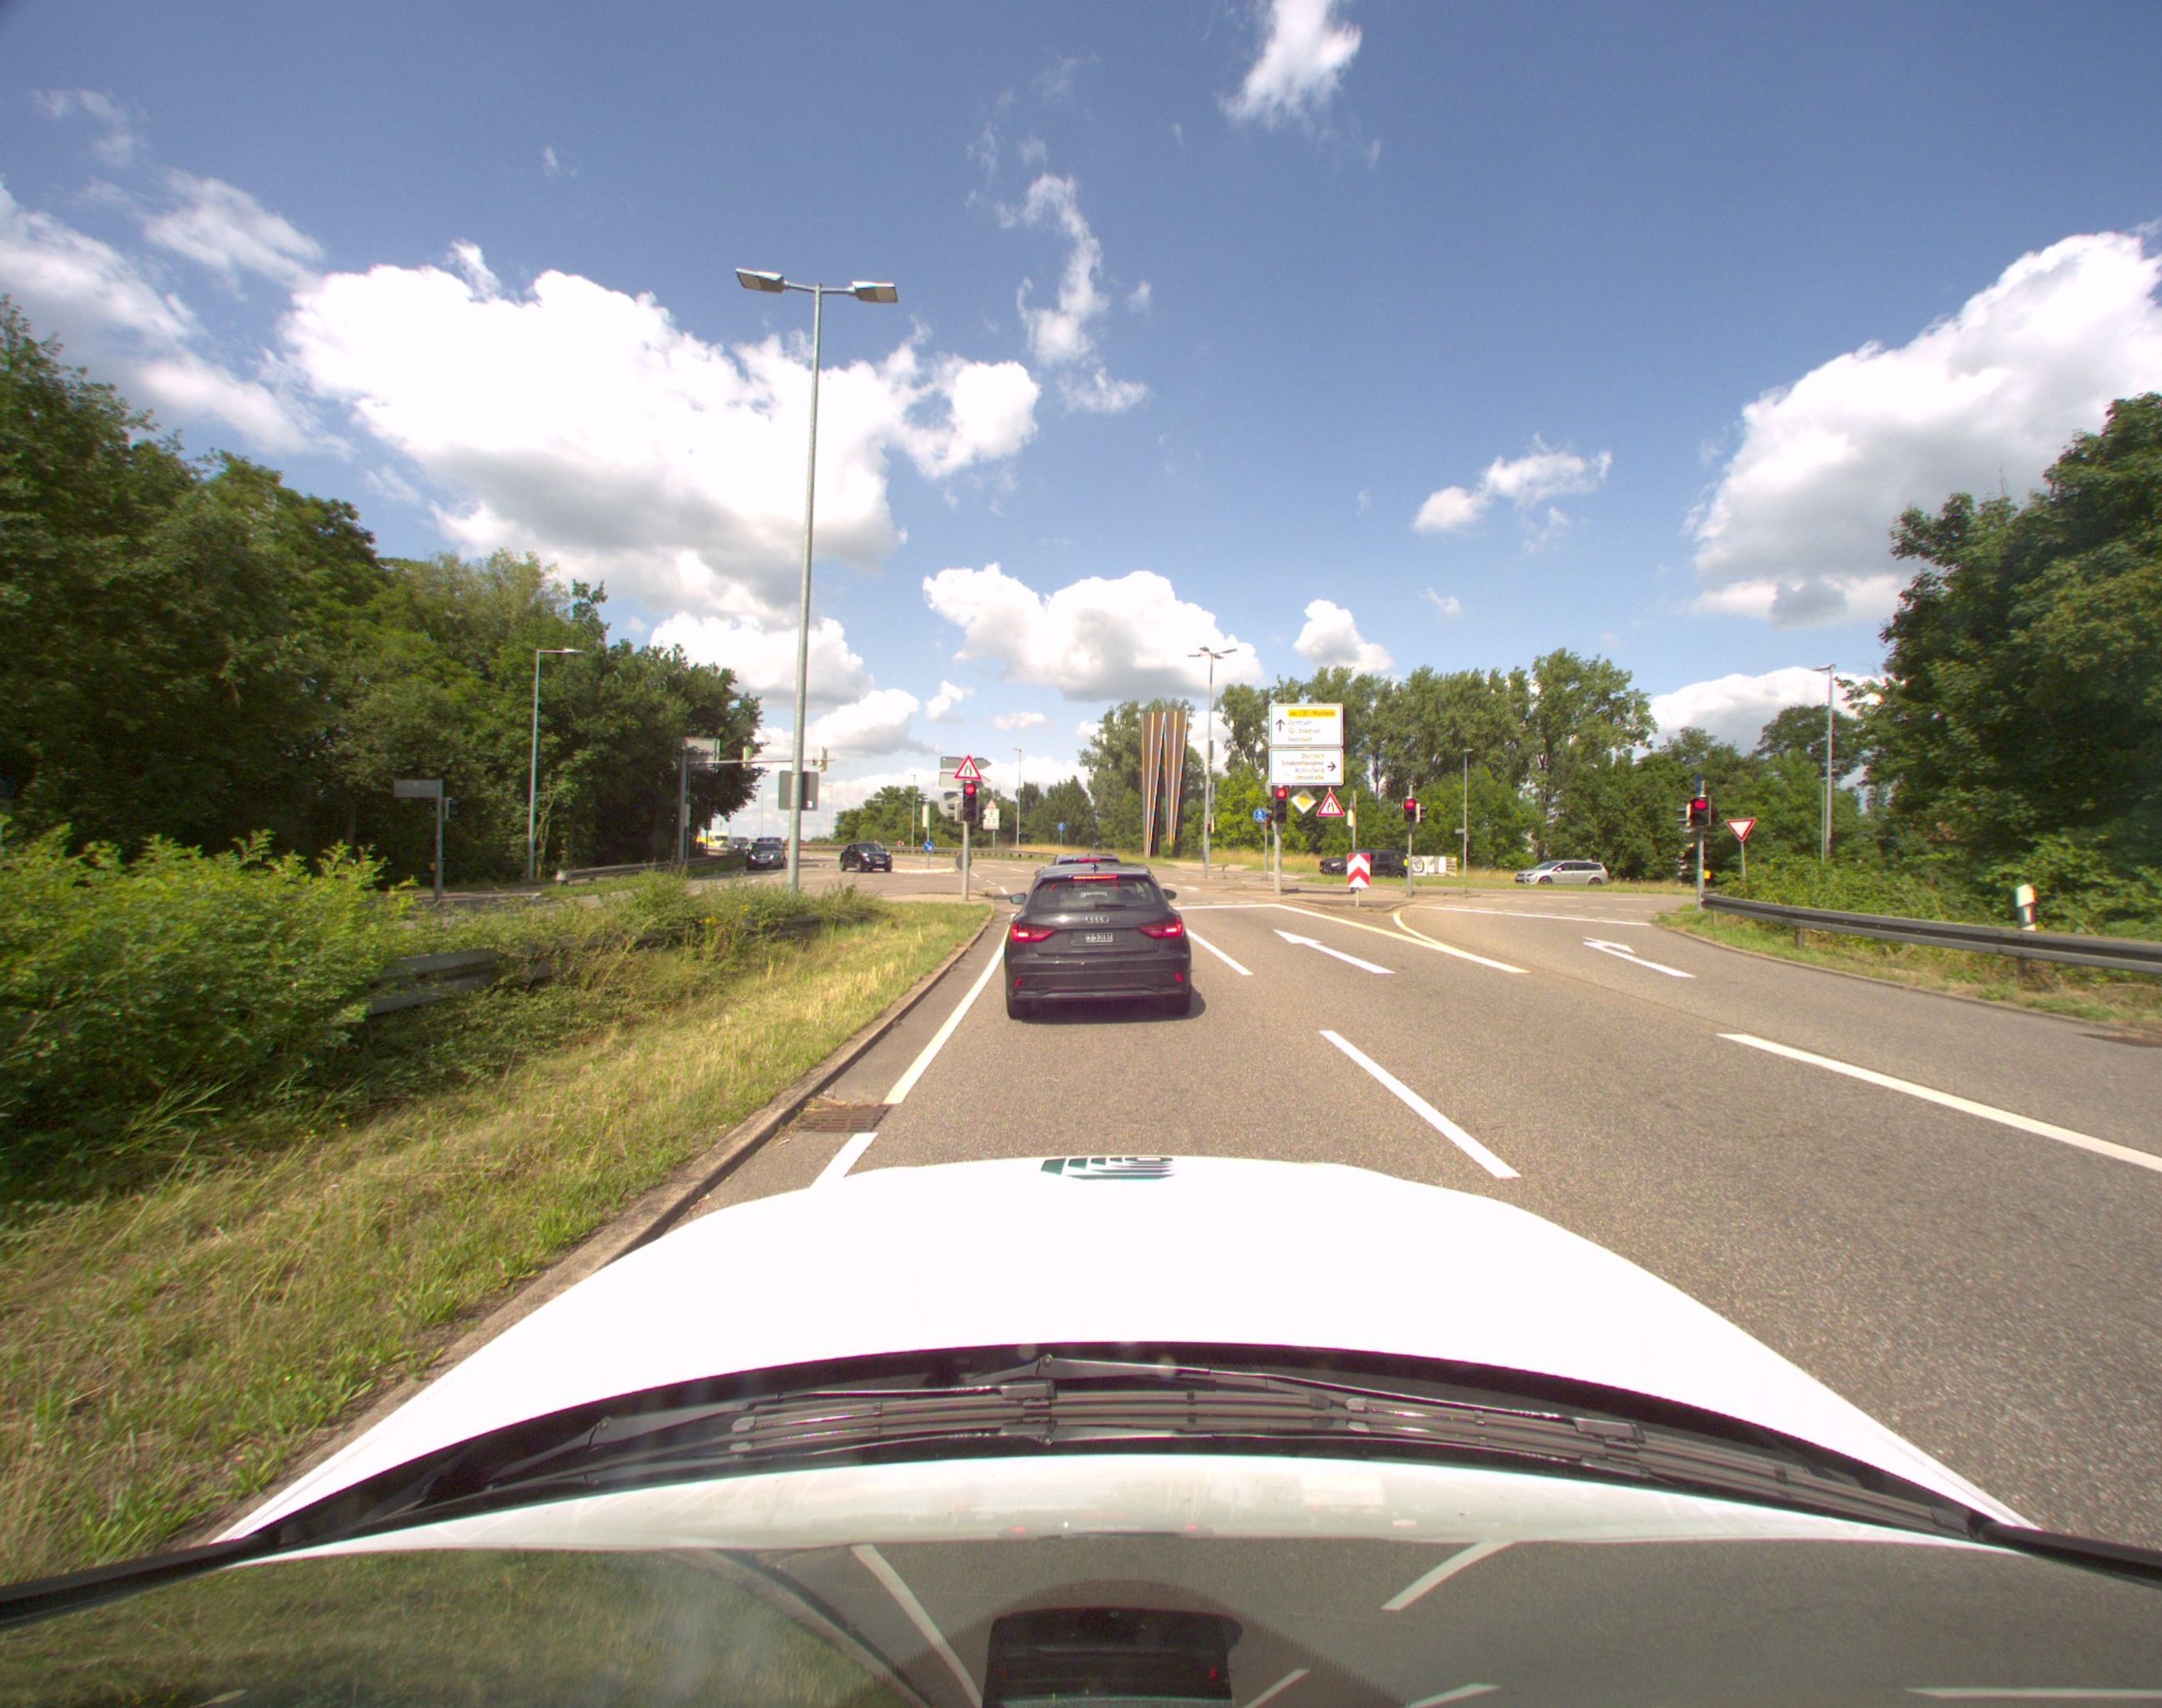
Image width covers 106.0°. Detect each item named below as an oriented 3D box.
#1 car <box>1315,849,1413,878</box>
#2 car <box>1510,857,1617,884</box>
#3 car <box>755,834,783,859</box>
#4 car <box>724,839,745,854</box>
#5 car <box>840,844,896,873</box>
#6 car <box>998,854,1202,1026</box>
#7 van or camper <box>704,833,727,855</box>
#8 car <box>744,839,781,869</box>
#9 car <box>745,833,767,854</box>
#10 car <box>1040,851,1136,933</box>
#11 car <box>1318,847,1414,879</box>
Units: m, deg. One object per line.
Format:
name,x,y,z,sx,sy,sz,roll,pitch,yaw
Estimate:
car,15.557,0.508,44.962,4.831,1.545,1.737,0,0,0
car,24.433,0.815,41.339,4.461,1.320,1.736,0,0,-2
car,-23.518,-0.584,61.424,1.849,1.802,4.298,0,0,-20
car,-39.212,-0.824,92.150,1.853,1.705,4.289,0,0,-27
car,-11.356,0.213,43.280,1.958,1.418,3.934,1,0,-29
car,0.215,0.742,9.001,1.720,1.404,4.001,-1,0,1
van or camper,-47.191,-1.286,104.998,2.006,2.683,6.797,0,0,-30
car,-18.502,0.032,47.399,1.844,1.618,3.974,0,-1,-19
car,-33.006,-1.055,82.666,1.852,1.978,4.291,0,0,-25
car,0.049,0.686,16.821,1.722,1.423,3.841,-1,0,-3
car,14.326,0.455,41.119,4.254,1.545,1.737,0,0,0
